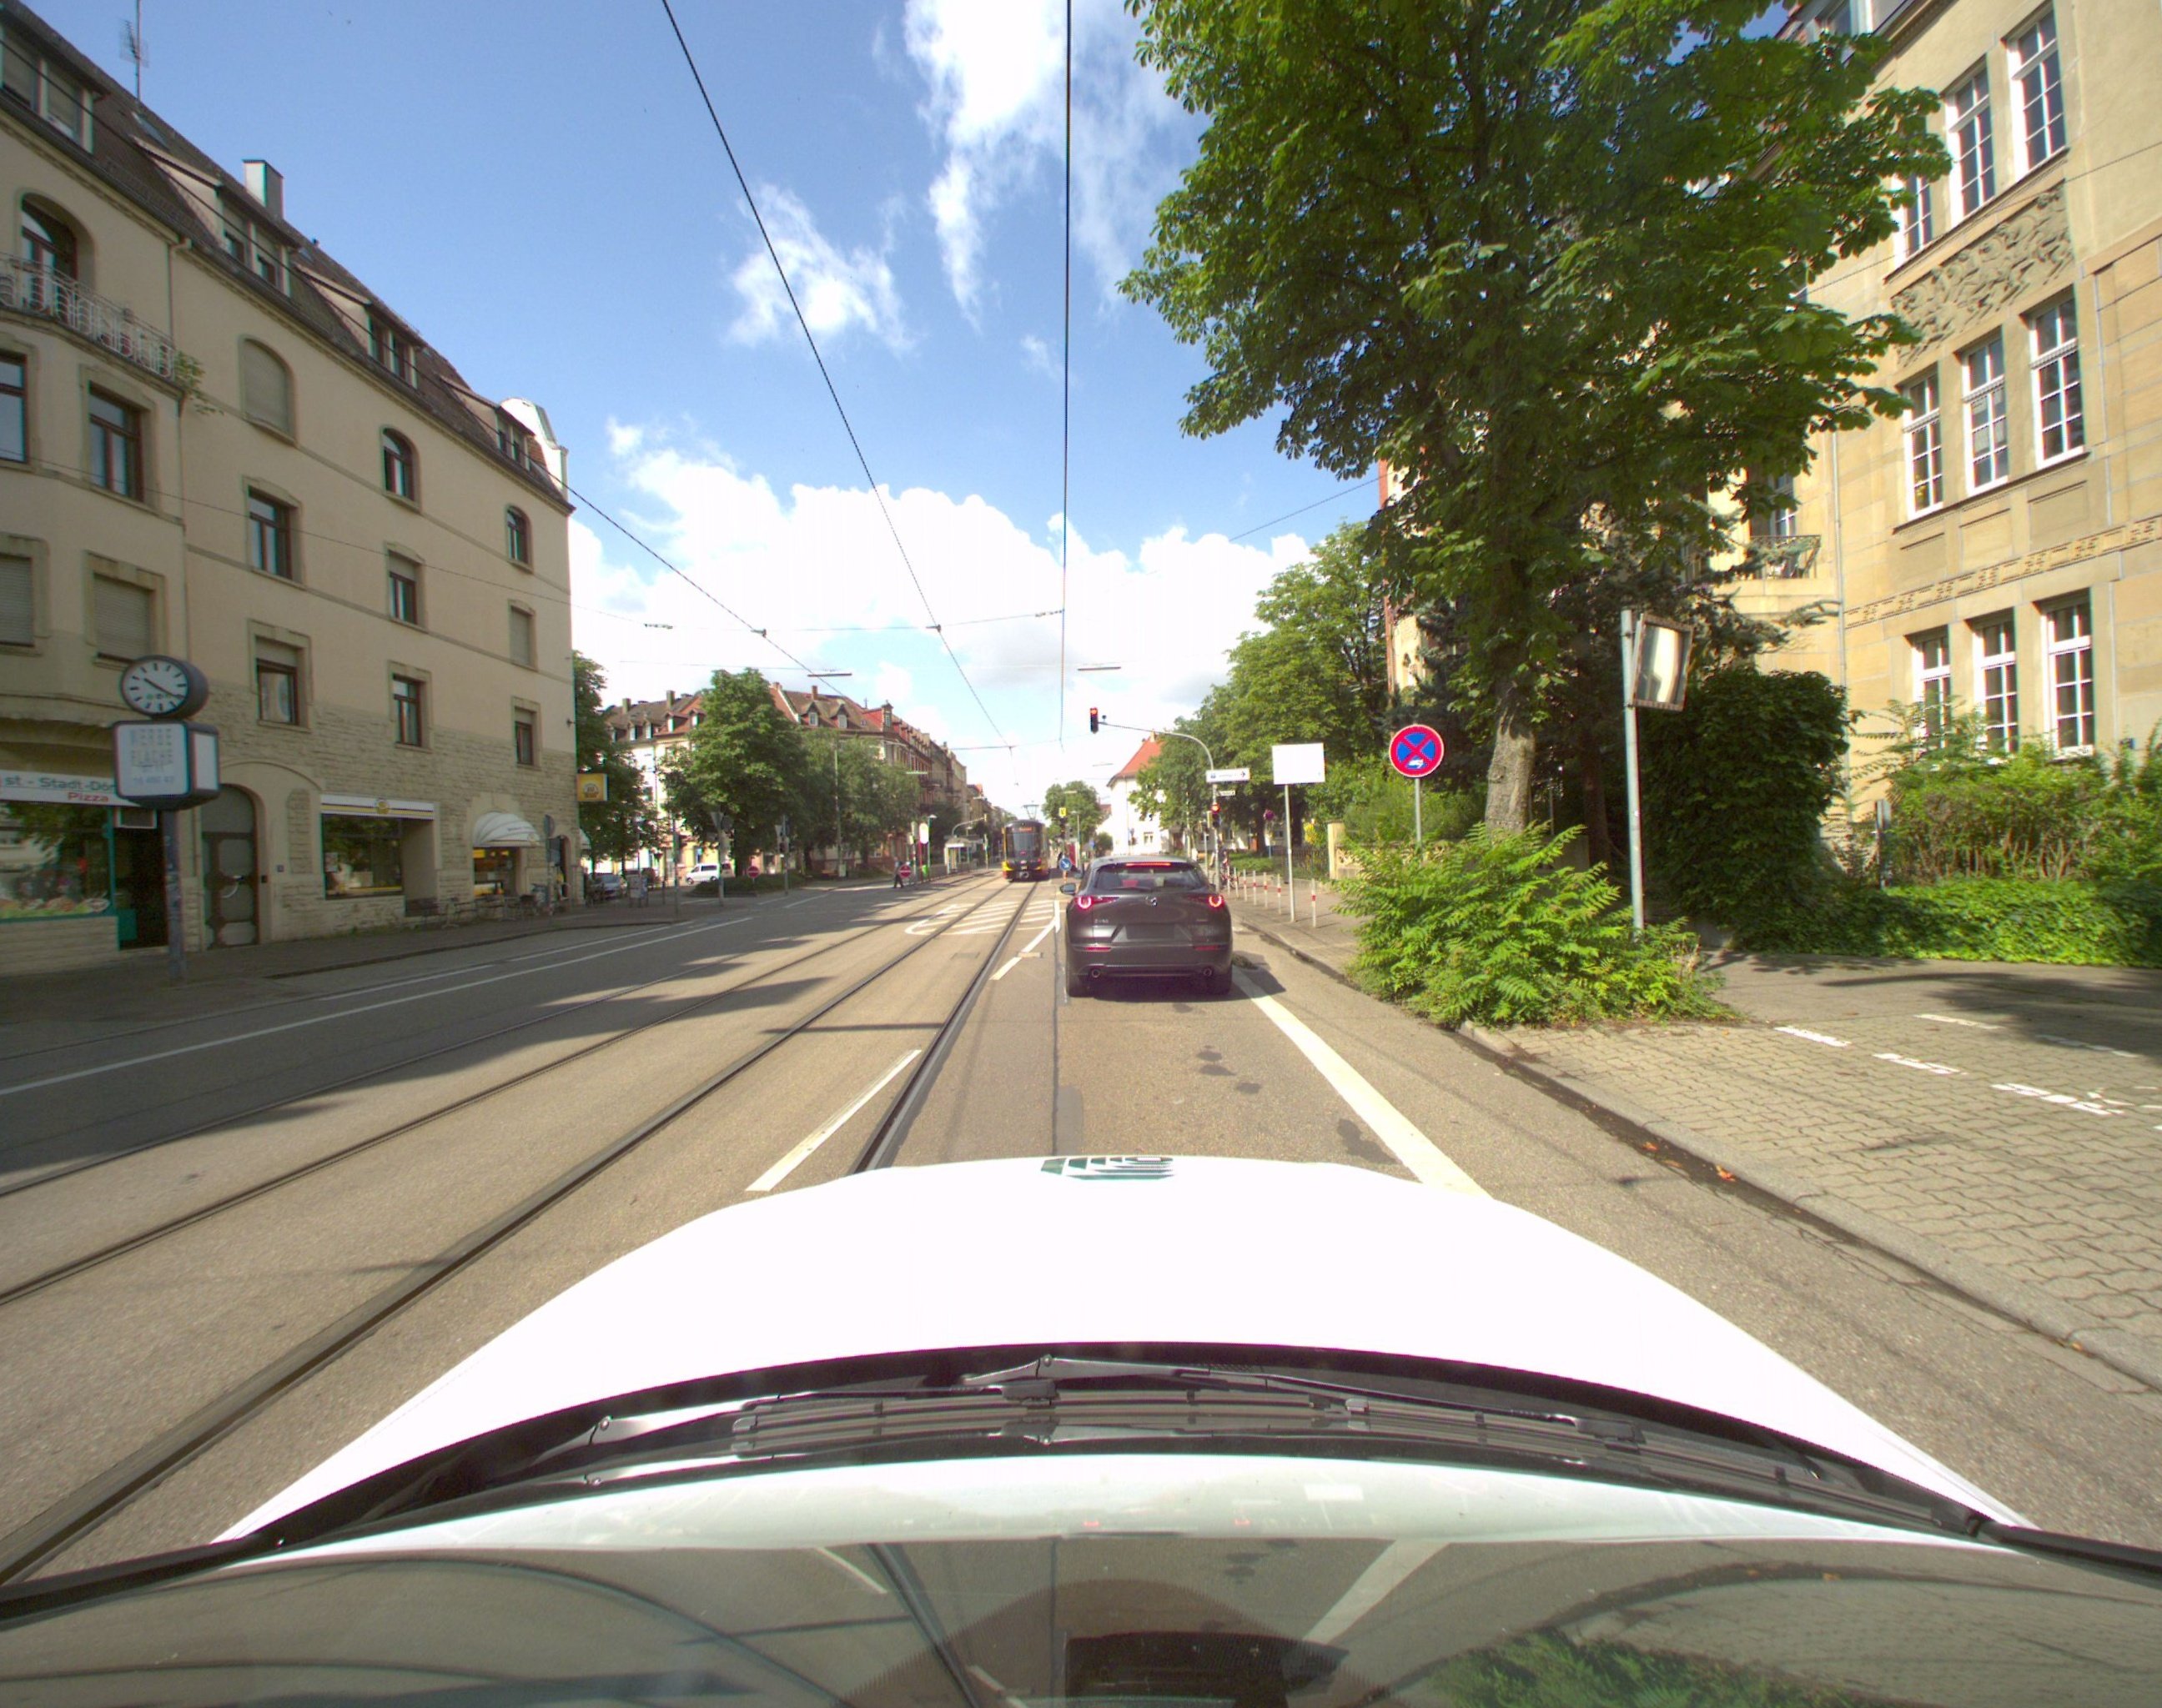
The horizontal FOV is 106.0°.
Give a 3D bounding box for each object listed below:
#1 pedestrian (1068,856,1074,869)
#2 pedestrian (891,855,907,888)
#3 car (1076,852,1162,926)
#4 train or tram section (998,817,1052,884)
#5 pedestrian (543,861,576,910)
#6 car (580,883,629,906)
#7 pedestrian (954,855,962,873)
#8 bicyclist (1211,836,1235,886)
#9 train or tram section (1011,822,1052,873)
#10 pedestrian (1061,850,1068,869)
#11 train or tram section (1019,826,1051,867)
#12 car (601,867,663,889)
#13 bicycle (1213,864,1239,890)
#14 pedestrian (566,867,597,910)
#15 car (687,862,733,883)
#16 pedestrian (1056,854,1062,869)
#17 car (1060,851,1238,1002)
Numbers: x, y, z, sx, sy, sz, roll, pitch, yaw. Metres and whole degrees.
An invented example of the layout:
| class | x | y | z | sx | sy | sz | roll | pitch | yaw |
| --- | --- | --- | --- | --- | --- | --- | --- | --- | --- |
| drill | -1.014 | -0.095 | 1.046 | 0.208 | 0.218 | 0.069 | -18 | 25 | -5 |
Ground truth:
| class | x | y | z | sx | sy | sz | roll | pitch | yaw |
| --- | --- | --- | --- | --- | --- | --- | --- | --- | --- |
| pedestrian | -0.735 | 0.620 | 61.168 | 0.379 | 0.984 | 0.474 | -2 | 0 | -3 |
| pedestrian | -9.631 | 0.922 | 43.002 | 0.718 | 1.705 | 0.819 | -2 | 0 | -16 |
| car | 0.831 | 0.717 | 18.754 | 1.772 | 1.499 | 4.001 | 0 | 0 | 1 |
| train or tram section | -3.277 | -0.324 | 50.804 | 2.746 | 3.490 | 14.396 | -2 | 1 | -2 |
| pedestrian | -19.027 | 1.135 | 29.729 | 0.682 | 1.754 | 0.799 | -2 | 0 | -8 |
| car | -28.926 | 2.422 | 49.582 | 1.677 | 1.182 | 3.976 | -2 | 0 | -17 |
| pedestrian | -9.782 | 0.829 | 64.918 | 0.424 | 1.399 | 0.401 | -2 | 0 | 32 |
| bicyclist | 5.104 | 0.246 | 29.299 | 0.650 | 1.793 | 0.613 | -2 | 0 | 22 |
| train or tram section | -3.814 | -0.574 | 65.177 | 2.746 | 3.490 | 14.396 | -2 | 1 | -2 |
| pedestrian | -1.199 | 0.399 | 60.893 | 0.449 | 1.434 | 0.474 | -2 | 0 | -3 |
| train or tram section | -4.347 | -0.811 | 79.547 | 2.746 | 3.490 | 14.396 | -2 | 1 | -2 |
| car | -37.639 | 2.006 | 68.334 | 3.972 | 1.596 | 2.001 | -2 | 0 | 2 |
| bicycle | 5.240 | 0.819 | 29.373 | 0.488 | 0.824 | 1.708 | -2 | 0 | 23 |
| pedestrian | -20.657 | 1.415 | 33.655 | 0.746 | 1.684 | 0.702 | -2 | 0 | 11 |
| car | -36.641 | 1.868 | 80.519 | 3.950 | 1.903 | 2.012 | -2 | 0 | 26 |
| pedestrian | -1.639 | 0.569 | 60.713 | 0.379 | 1.071 | 0.474 | -2 | 0 | -2 |
| car | 0.731 | 0.719 | 10.144 | 1.772 | 1.499 | 4.001 | 0 | 0 | 1 |
